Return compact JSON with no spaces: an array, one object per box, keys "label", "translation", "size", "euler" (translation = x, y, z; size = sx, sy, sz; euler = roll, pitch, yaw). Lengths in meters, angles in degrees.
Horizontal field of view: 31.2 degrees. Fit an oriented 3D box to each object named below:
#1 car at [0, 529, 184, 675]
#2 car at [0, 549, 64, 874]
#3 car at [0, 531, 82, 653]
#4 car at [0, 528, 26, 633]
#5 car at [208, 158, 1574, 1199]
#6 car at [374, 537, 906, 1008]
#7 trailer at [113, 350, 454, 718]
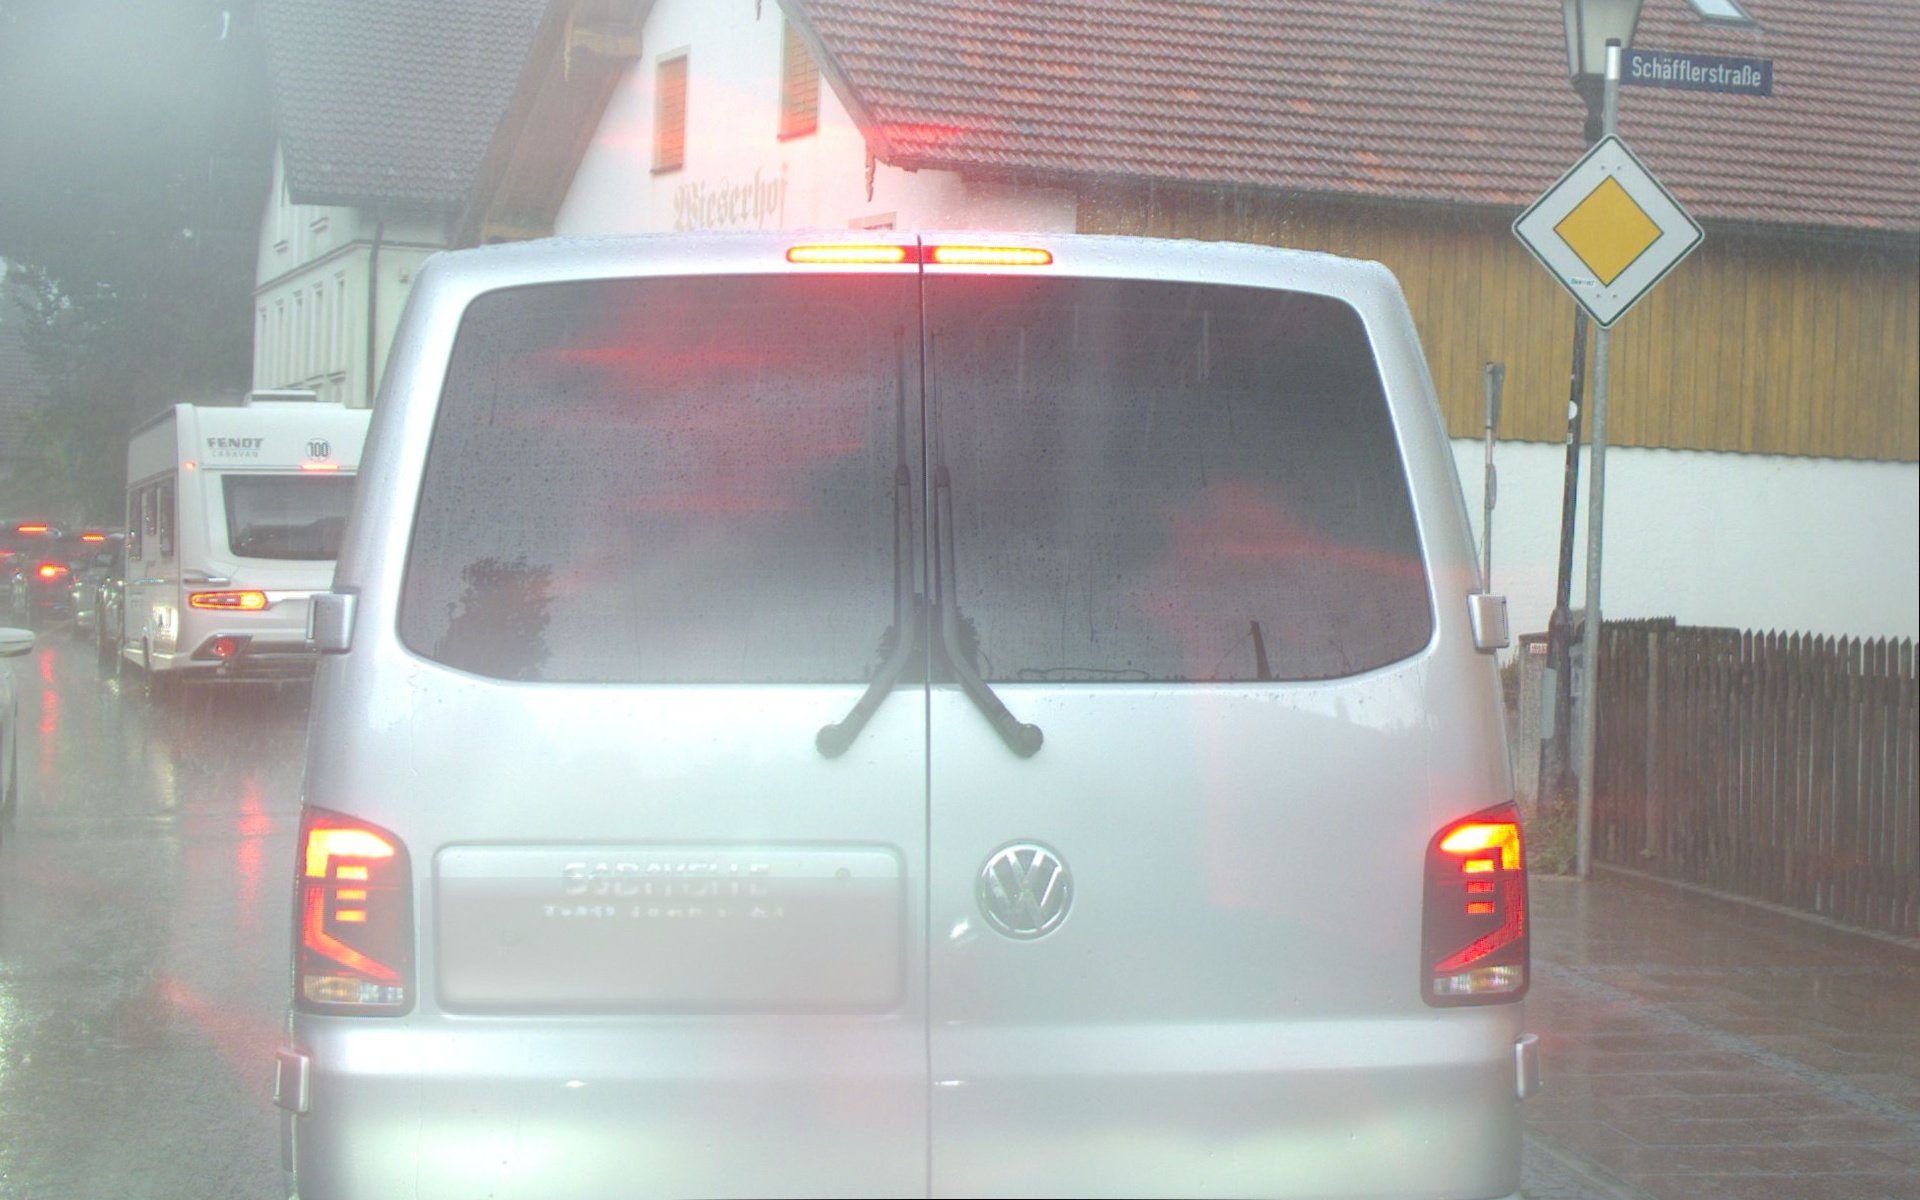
[{"label":"car","translation":[-12.851,-0.009,50.508],"size":[2.168,1.892,5.016],"euler":[2,1,-20]},{"label":"car","translation":[-5.435,0.451,16.614],"size":[1.861,1.354,4.484],"euler":[0,1,-11]},{"label":"car","translation":[-16.315,-0.196,58.437],"size":[2.168,1.892,5.016],"euler":[2,1,-20]},{"label":"car","translation":[-19.397,-0.453,66.401],"size":[2.168,1.892,5.016],"euler":[2,1,-20]},{"label":"car","translation":[-0.248,0.383,7.026],"size":[1.776,1.956,5.075],"euler":[0,1,-4]},{"label":"car","translation":[-1.507,0.558,14.455],"size":[1.708,1.578,4.687],"euler":[-1,2,-12]},{"label":"trailer","translation":[-6.090,-0.560,30.280],"size":[2.270,2.894,6.134],"euler":[1,1,-17]}]
